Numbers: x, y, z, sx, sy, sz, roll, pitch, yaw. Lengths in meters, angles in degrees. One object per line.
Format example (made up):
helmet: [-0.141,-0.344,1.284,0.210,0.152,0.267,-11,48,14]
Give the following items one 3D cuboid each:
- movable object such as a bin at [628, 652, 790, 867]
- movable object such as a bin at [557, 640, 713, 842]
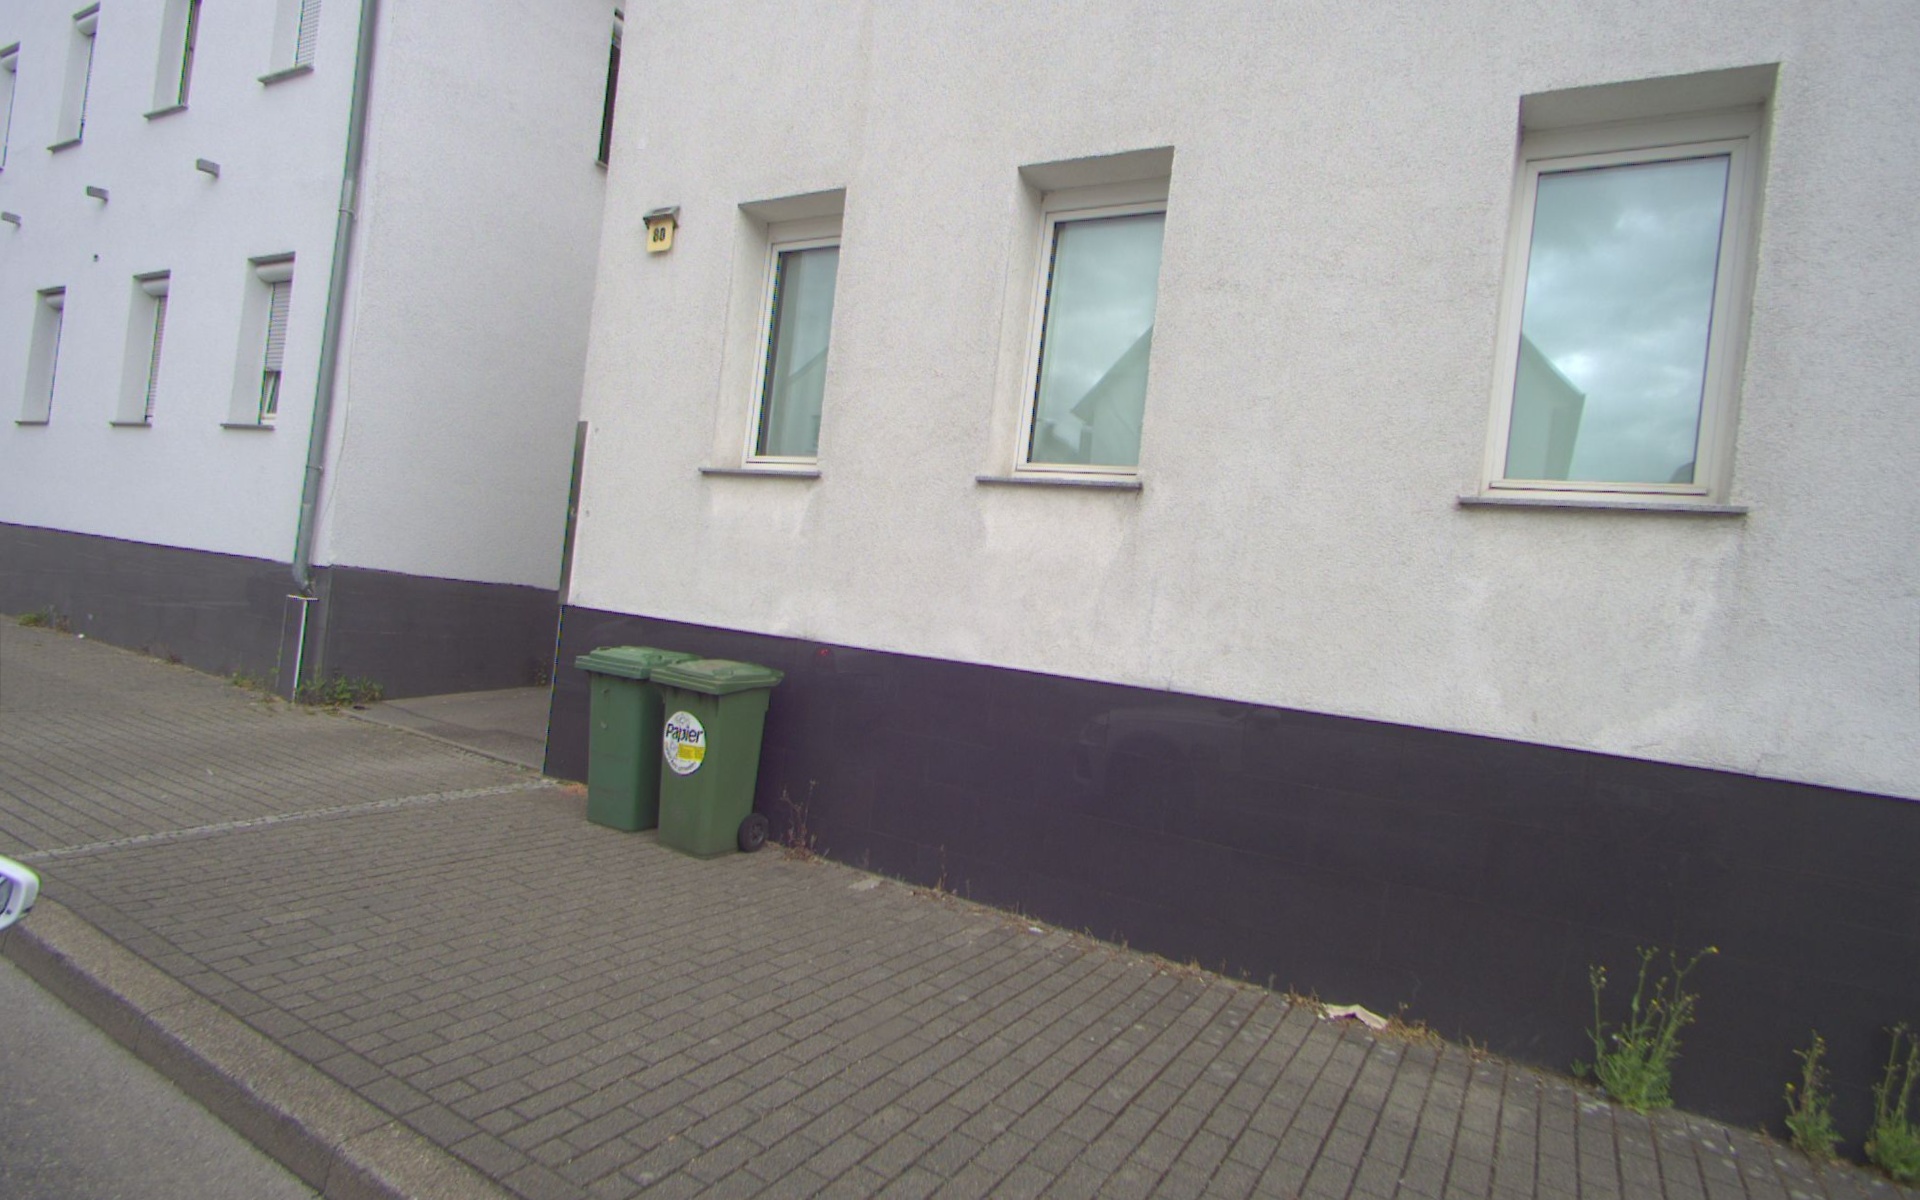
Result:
movable object such as a bin: [-1.254,0.766,5.061,0.479,0.953,0.540,7,2,32]
movable object such as a bin: [-1.712,0.712,5.318,0.479,0.953,0.540,7,2,32]
